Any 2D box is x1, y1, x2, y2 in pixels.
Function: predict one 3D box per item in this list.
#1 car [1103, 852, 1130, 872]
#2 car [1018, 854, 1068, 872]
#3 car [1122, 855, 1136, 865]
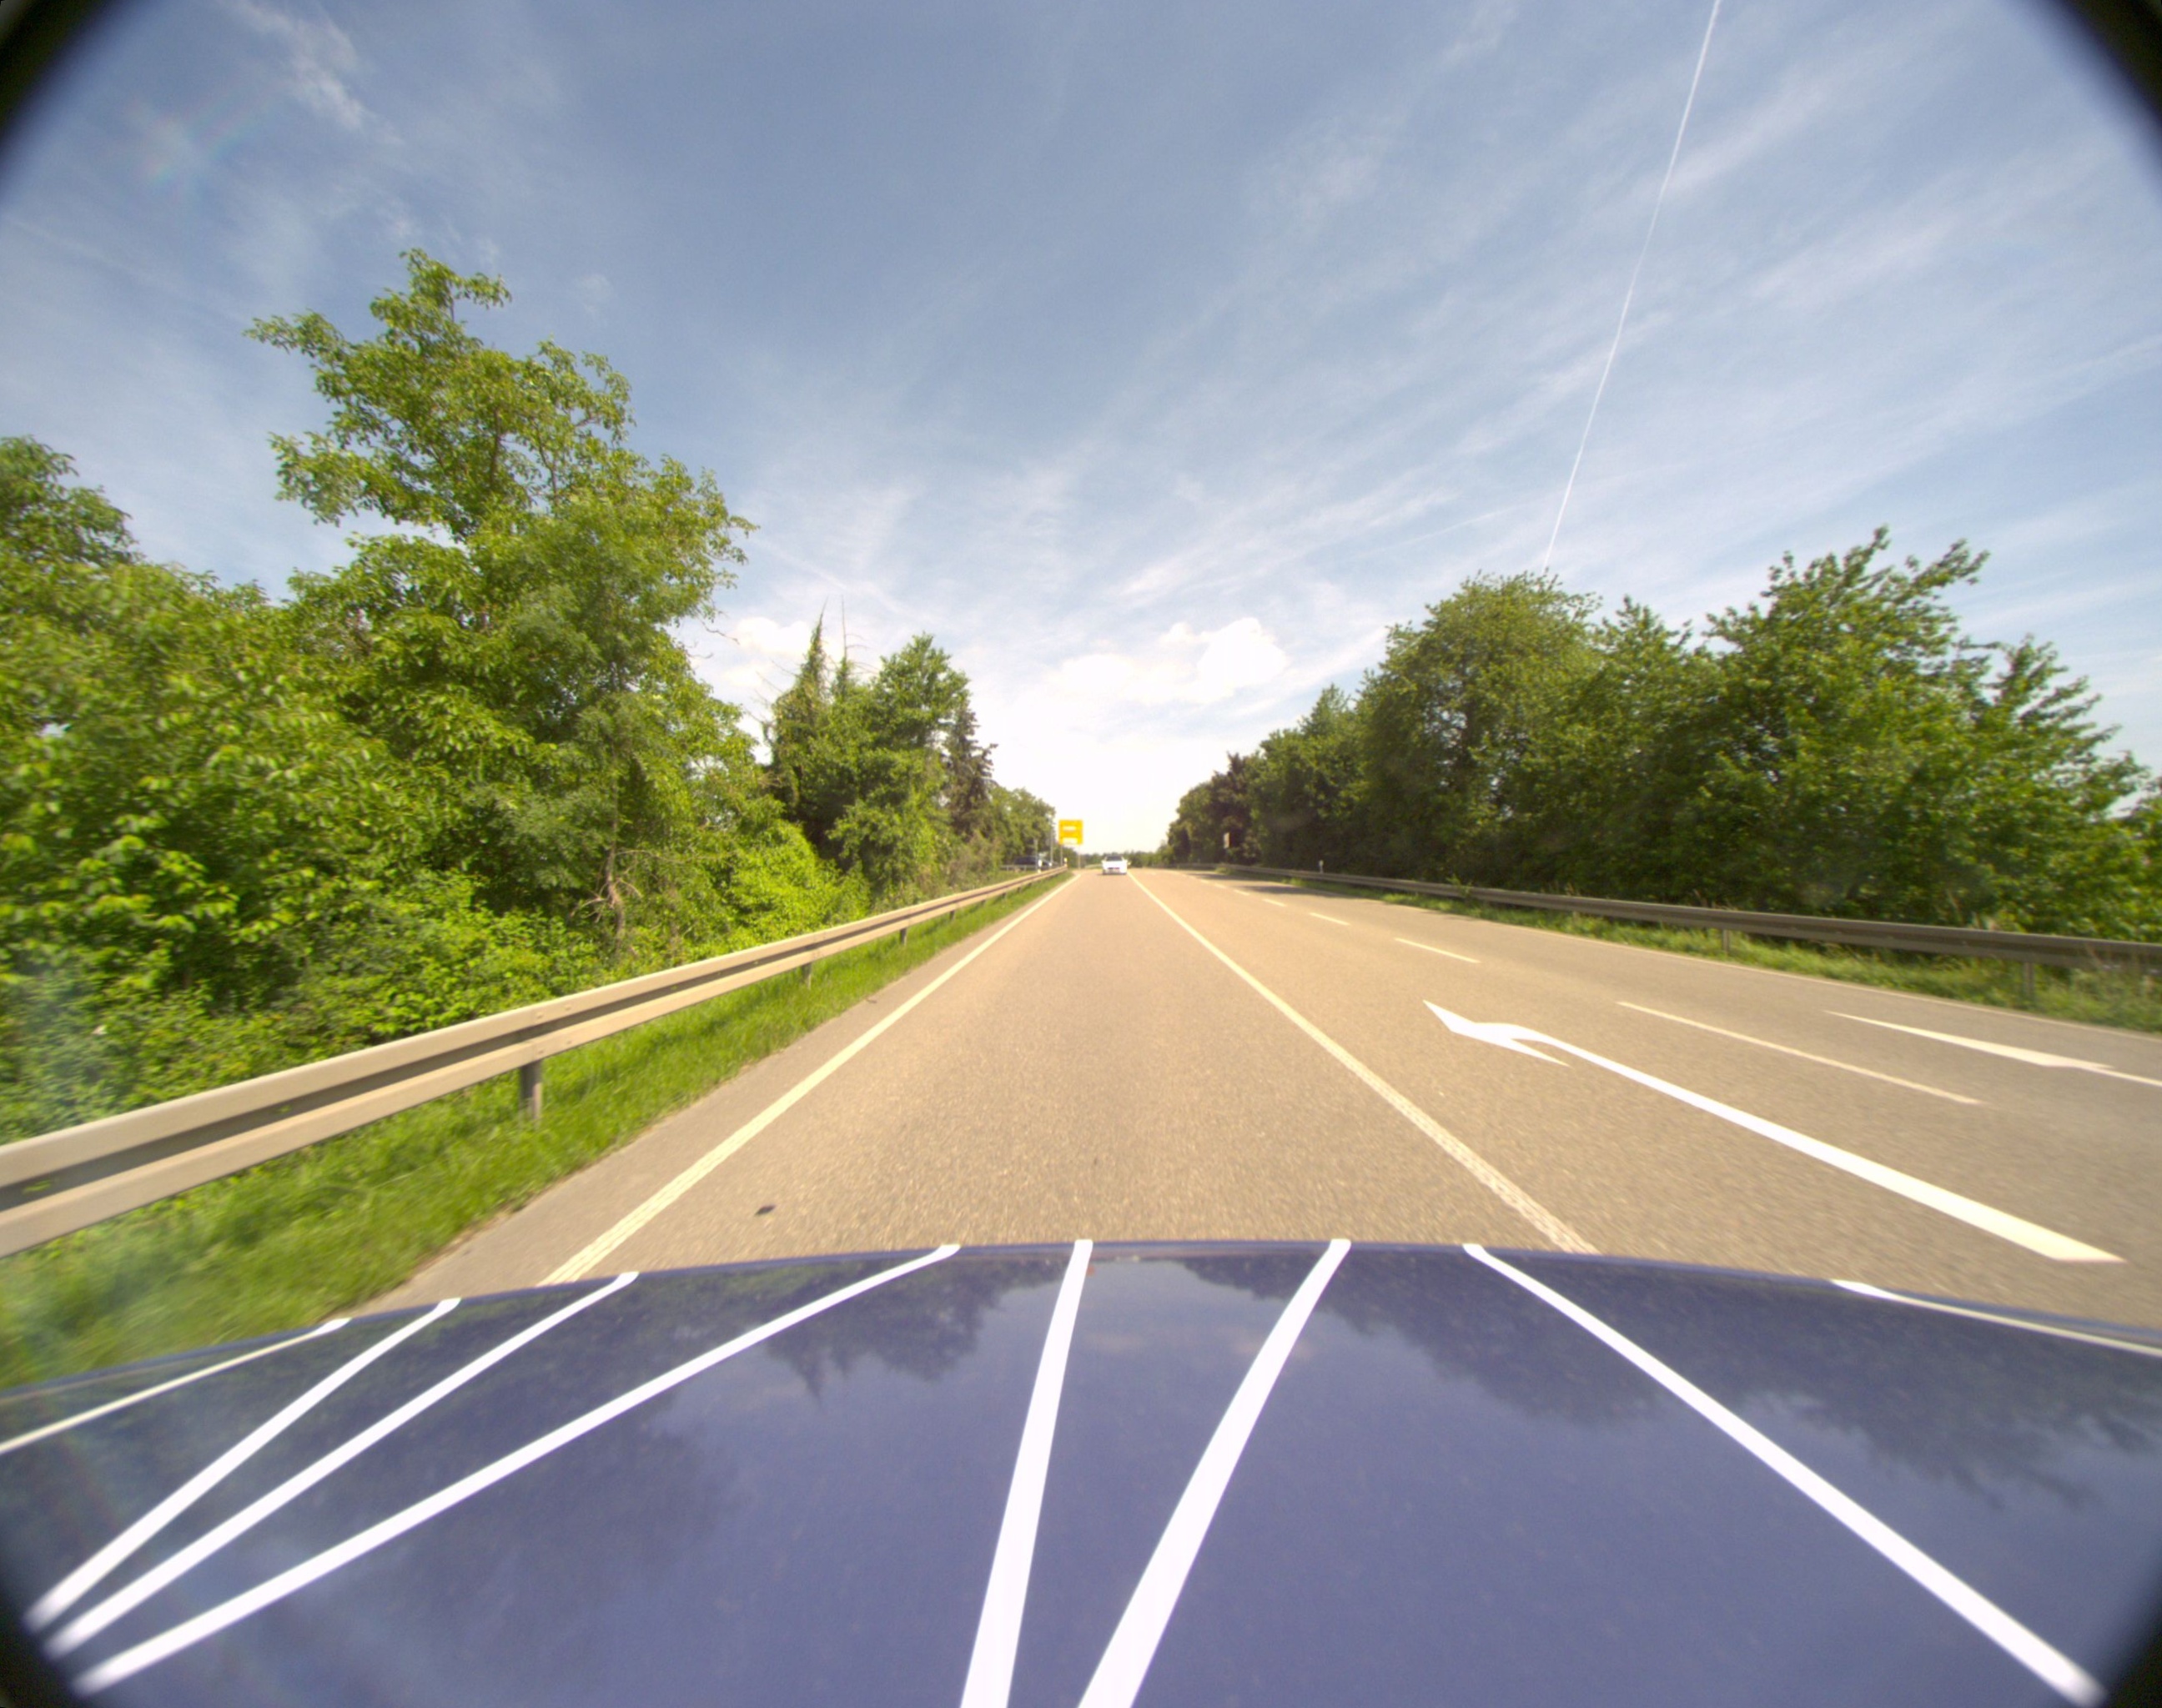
[{"bbox_3d":[2.704,0.571,58.502,1.929,1.441,4.534,-1,1,1],"label":"car"},{"bbox_3d":[-3.584,0.823,71.302,4.417,1.580,2.068,-1,0,37],"label":"car"},{"bbox_3d":[7.113,0.866,112.514,1.929,1.441,4.078,0,-1,2],"label":"car"}]
